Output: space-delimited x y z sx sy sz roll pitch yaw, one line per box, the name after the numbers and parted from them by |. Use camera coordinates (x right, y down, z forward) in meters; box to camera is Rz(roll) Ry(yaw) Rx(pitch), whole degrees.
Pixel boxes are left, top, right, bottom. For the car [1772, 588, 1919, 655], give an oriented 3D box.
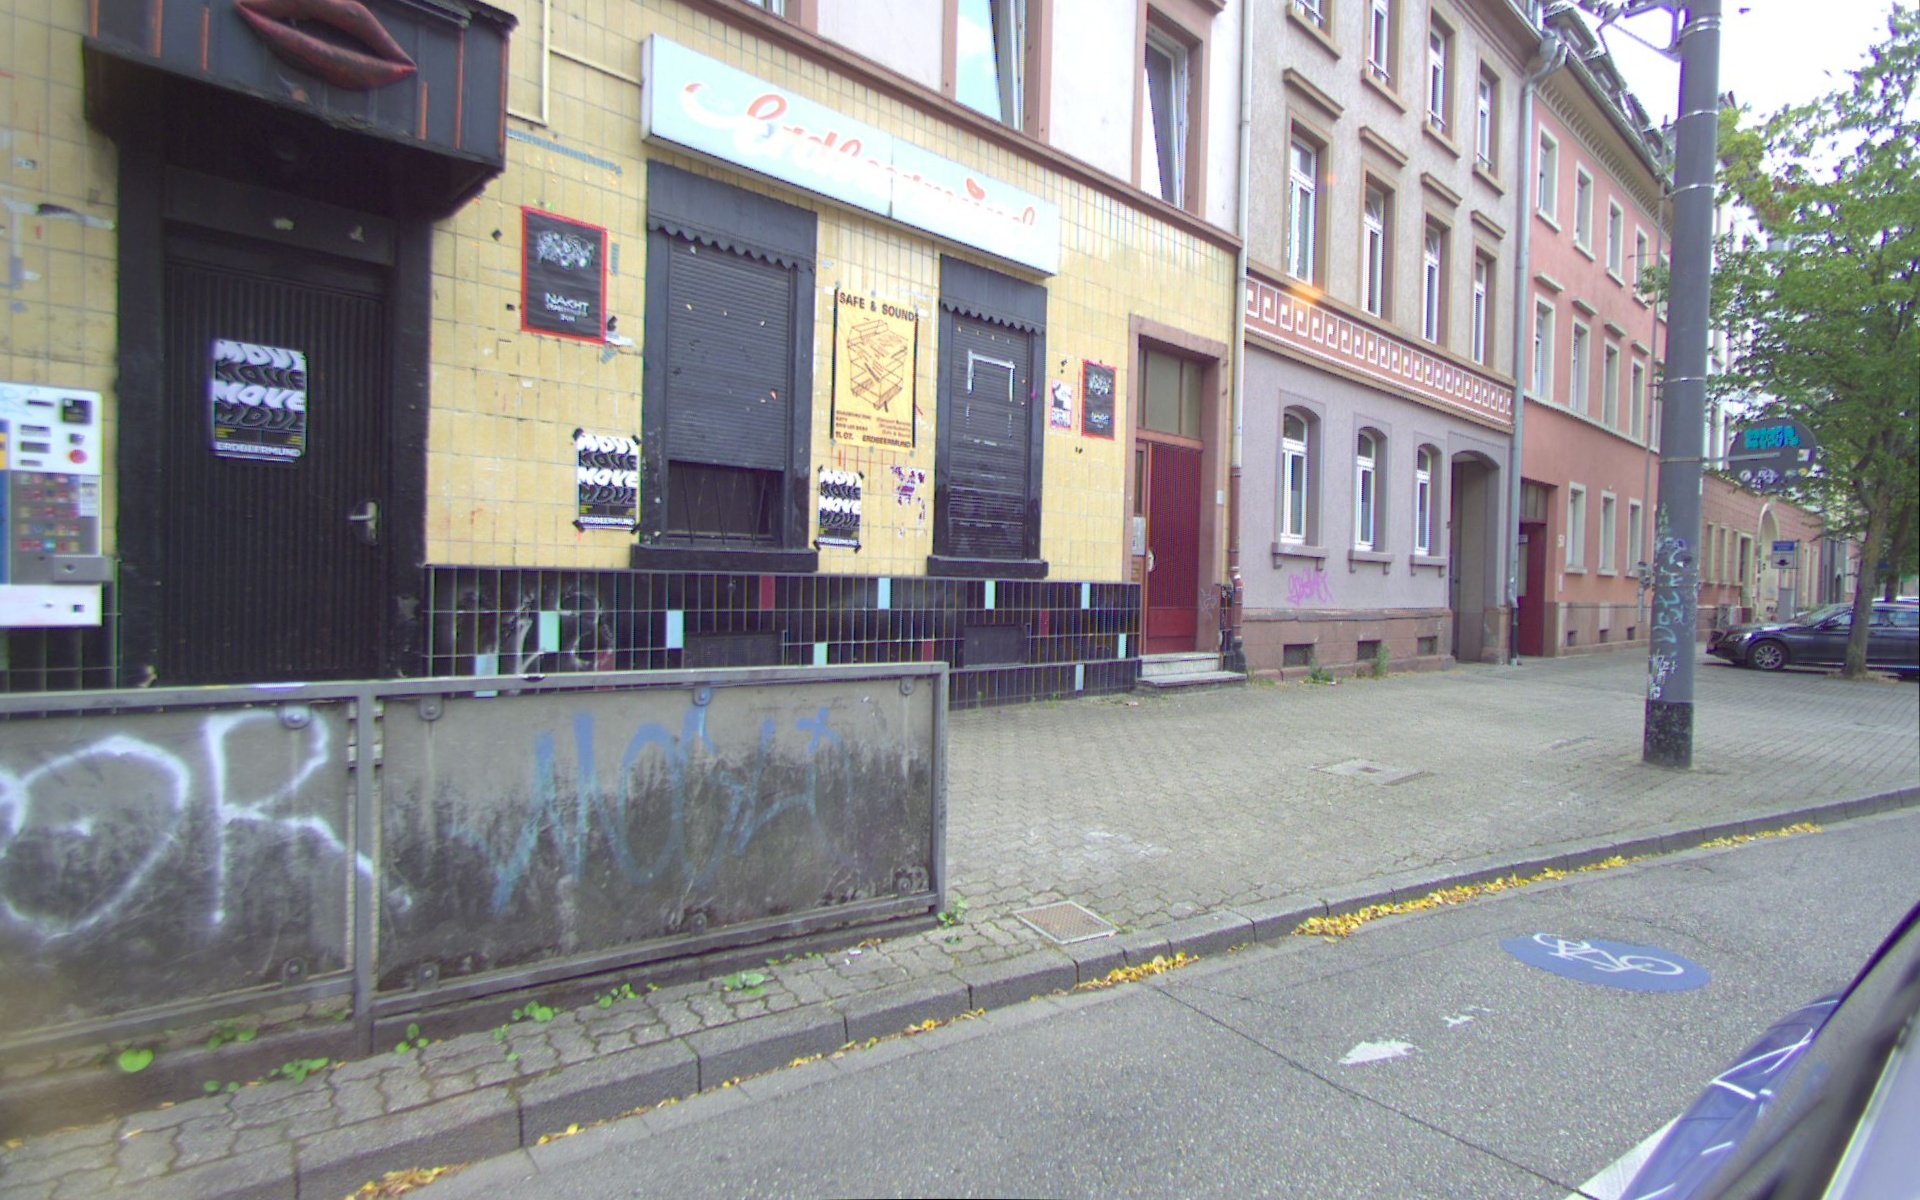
23.143 0.552 25.098 4.301 1.498 1.774 3 2 25 | car

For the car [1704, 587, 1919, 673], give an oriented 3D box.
18.029 0.588 20.366 4.581 1.491 1.774 3 2 25 | car

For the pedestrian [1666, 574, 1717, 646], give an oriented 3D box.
18.332 0.234 25.359 0.910 1.708 0.732 1 4 -42 | pedestrian

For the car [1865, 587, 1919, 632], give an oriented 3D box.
39.460 0.442 40.355 4.581 1.719 1.901 3 2 25 | car

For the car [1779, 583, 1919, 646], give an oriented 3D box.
27.690 0.432 30.554 4.196 1.719 1.725 3 2 25 | car
